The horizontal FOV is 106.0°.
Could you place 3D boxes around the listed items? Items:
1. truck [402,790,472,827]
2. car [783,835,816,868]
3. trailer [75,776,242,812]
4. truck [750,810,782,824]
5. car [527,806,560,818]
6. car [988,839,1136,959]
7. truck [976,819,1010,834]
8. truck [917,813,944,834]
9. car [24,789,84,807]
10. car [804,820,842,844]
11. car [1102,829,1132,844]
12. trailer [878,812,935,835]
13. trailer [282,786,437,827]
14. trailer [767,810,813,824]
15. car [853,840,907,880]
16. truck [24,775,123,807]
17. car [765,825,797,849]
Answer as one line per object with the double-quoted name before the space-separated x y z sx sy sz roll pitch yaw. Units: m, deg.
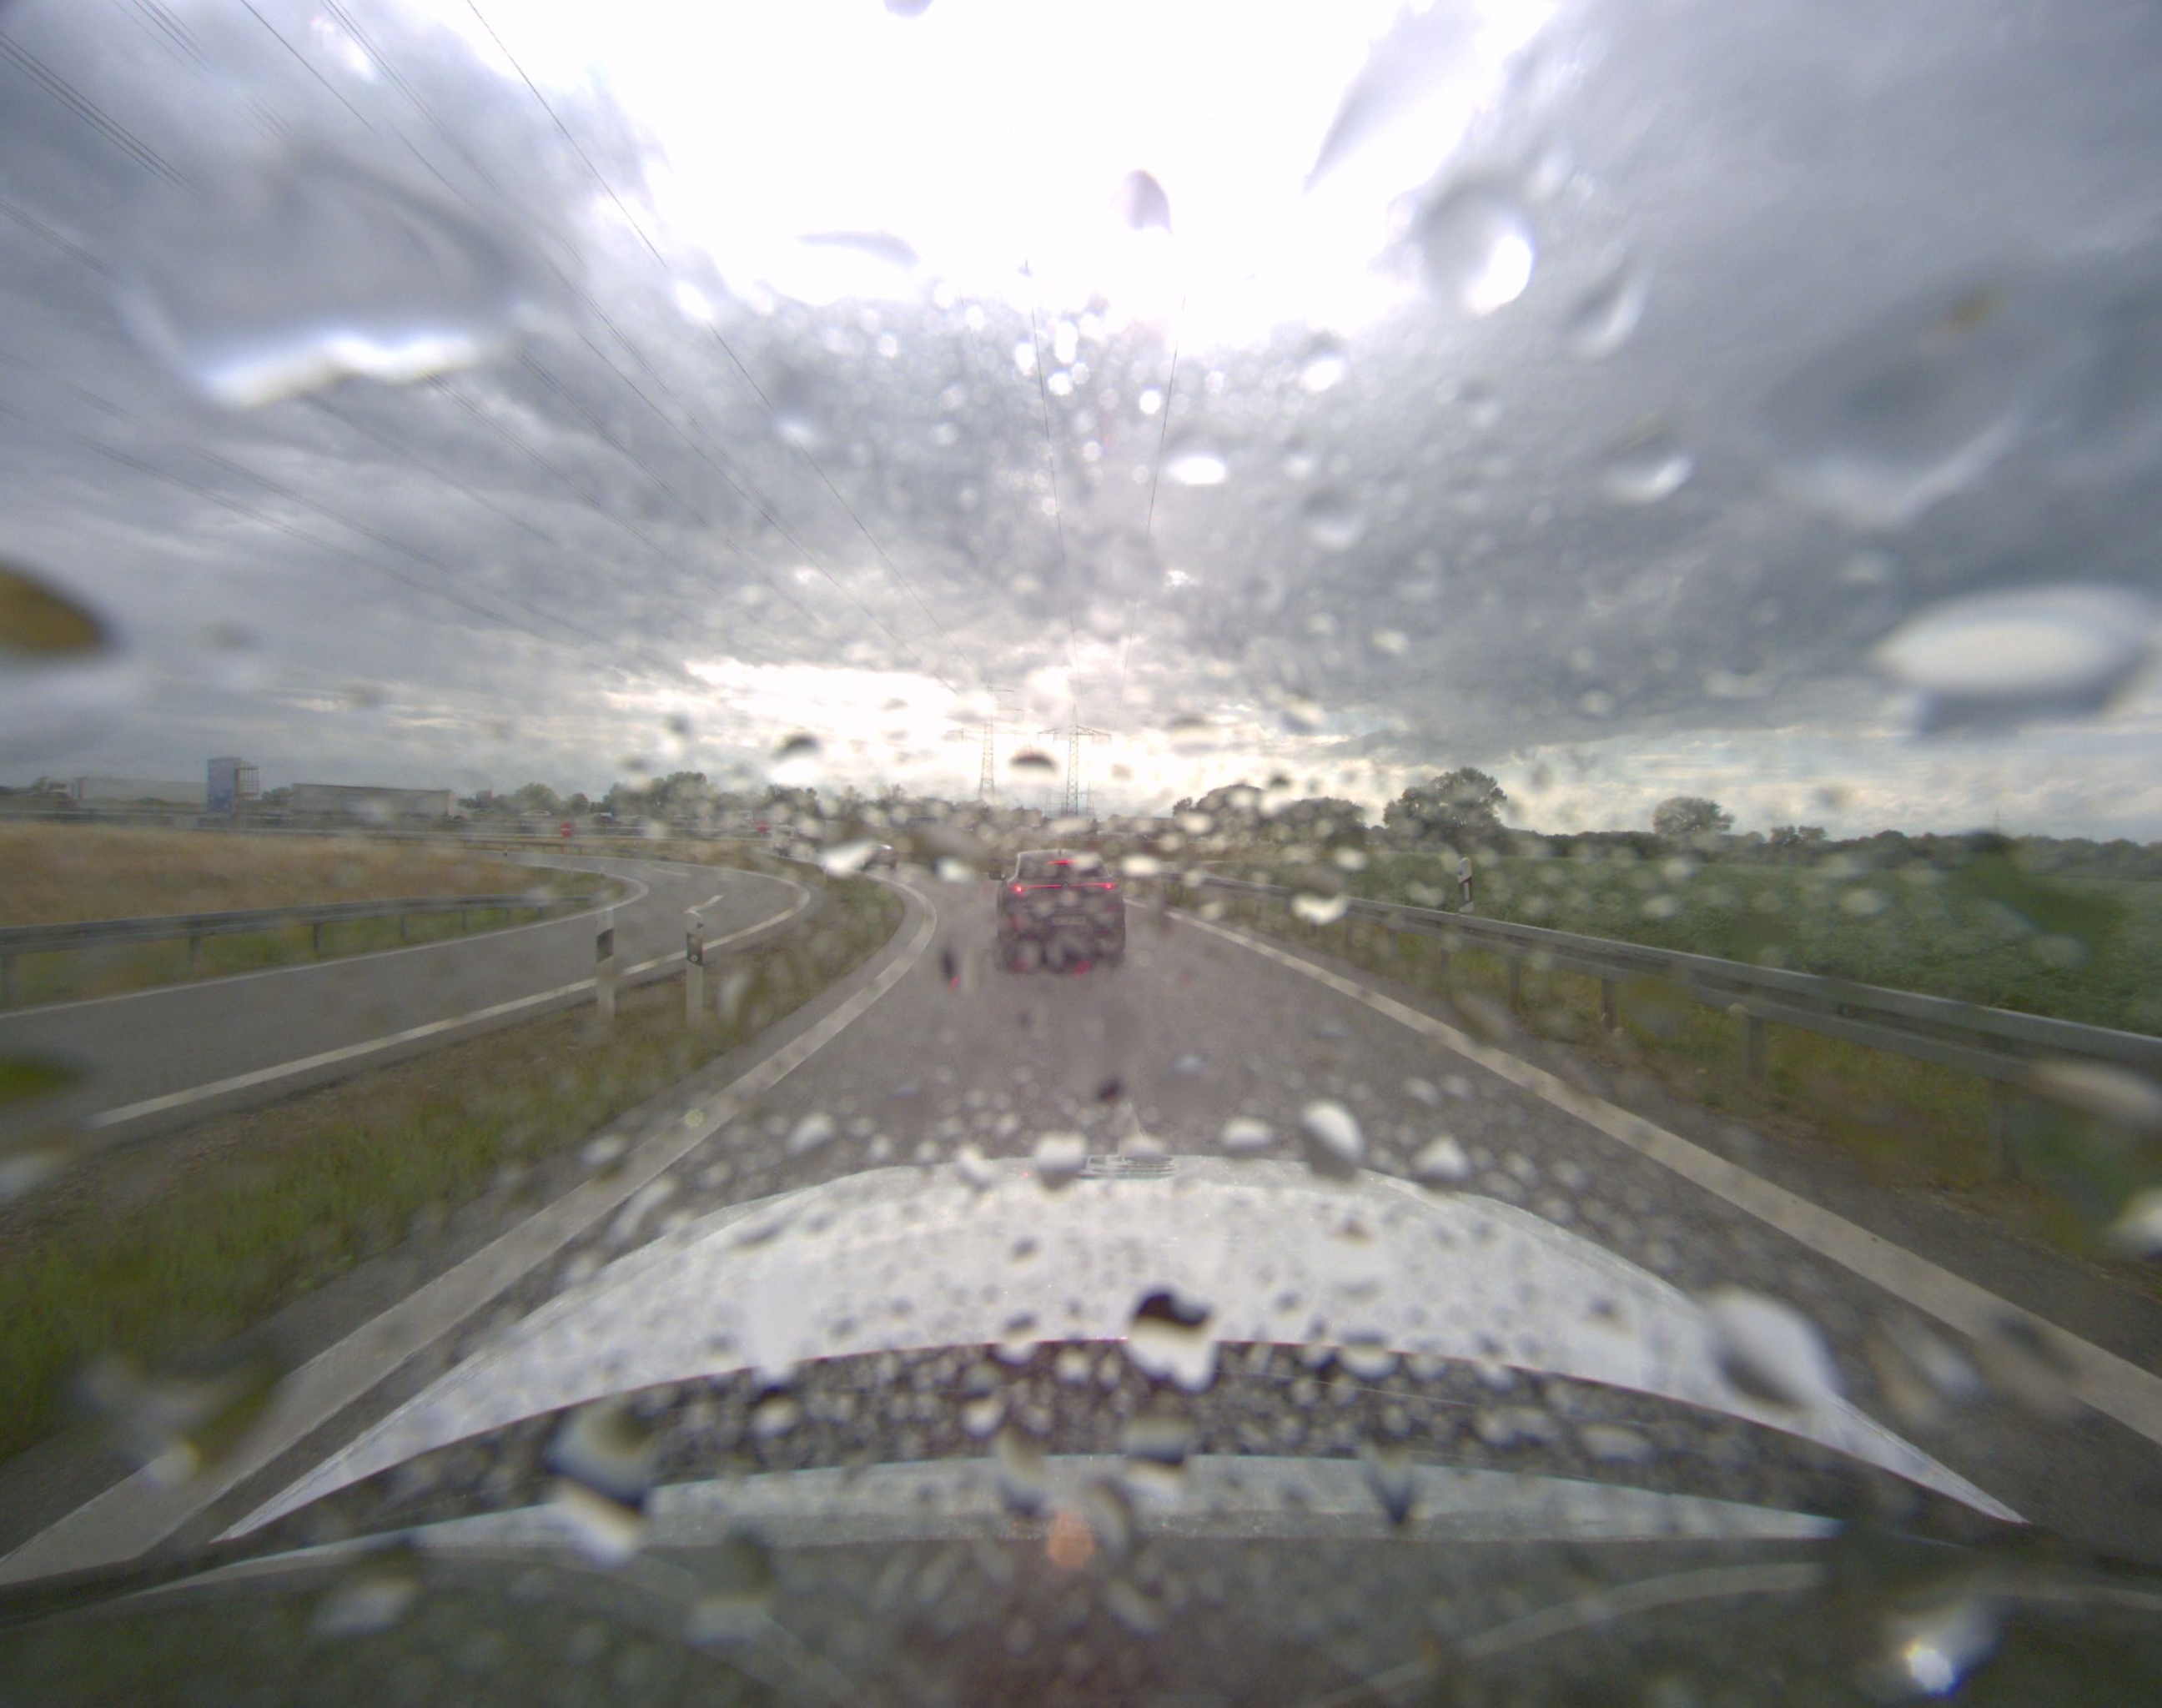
"truck" -82.172 -5.788 103.948 3.308 4.564 6.309 3 4 36
"car" -22.195 -0.246 64.448 2.358 2.306 5.099 0 3 -18
"trailer" -119.962 -7.706 106.368 2.823 3.670 14.191 3 2 34
"truck" -69.817 -8.219 180.671 2.290 3.025 6.510 3 3 33
"car" -87.618 -6.779 132.774 1.868 1.848 4.026 4 4 36
"car" -0.443 0.575 13.272 1.991 1.566 4.141 -2 1 -6
"truck" -25.690 -8.061 238.498 1.974 4.123 12.577 2 1 34
"truck" -32.846 -6.607 177.959 3.039 4.478 5.105 3 3 33
"car" -114.543 -6.272 90.838 1.868 1.848 4.026 4 4 36
"car" -35.179 -3.023 111.328 3.128 2.950 7.206 1 3 -2
"car" 9.197 -4.330 205.222 3.351 3.610 9.102 2 1 33
"trailer" -36.679 -6.408 172.032 3.019 4.634 13.388 3 3 32
"trailer" -86.422 -5.620 98.007 3.439 4.615 13.480 3 4 36
"trailer" -66.382 -8.411 185.921 2.290 3.025 10.553 3 4 33
"car" -11.526 0.298 46.421 2.130 2.017 5.493 2 1 -23
"truck" -123.976 -7.702 100.360 2.789 3.540 7.426 3 2 34
"car" -32.403 -1.865 87.786 2.366 2.306 5.080 0 3 -31
